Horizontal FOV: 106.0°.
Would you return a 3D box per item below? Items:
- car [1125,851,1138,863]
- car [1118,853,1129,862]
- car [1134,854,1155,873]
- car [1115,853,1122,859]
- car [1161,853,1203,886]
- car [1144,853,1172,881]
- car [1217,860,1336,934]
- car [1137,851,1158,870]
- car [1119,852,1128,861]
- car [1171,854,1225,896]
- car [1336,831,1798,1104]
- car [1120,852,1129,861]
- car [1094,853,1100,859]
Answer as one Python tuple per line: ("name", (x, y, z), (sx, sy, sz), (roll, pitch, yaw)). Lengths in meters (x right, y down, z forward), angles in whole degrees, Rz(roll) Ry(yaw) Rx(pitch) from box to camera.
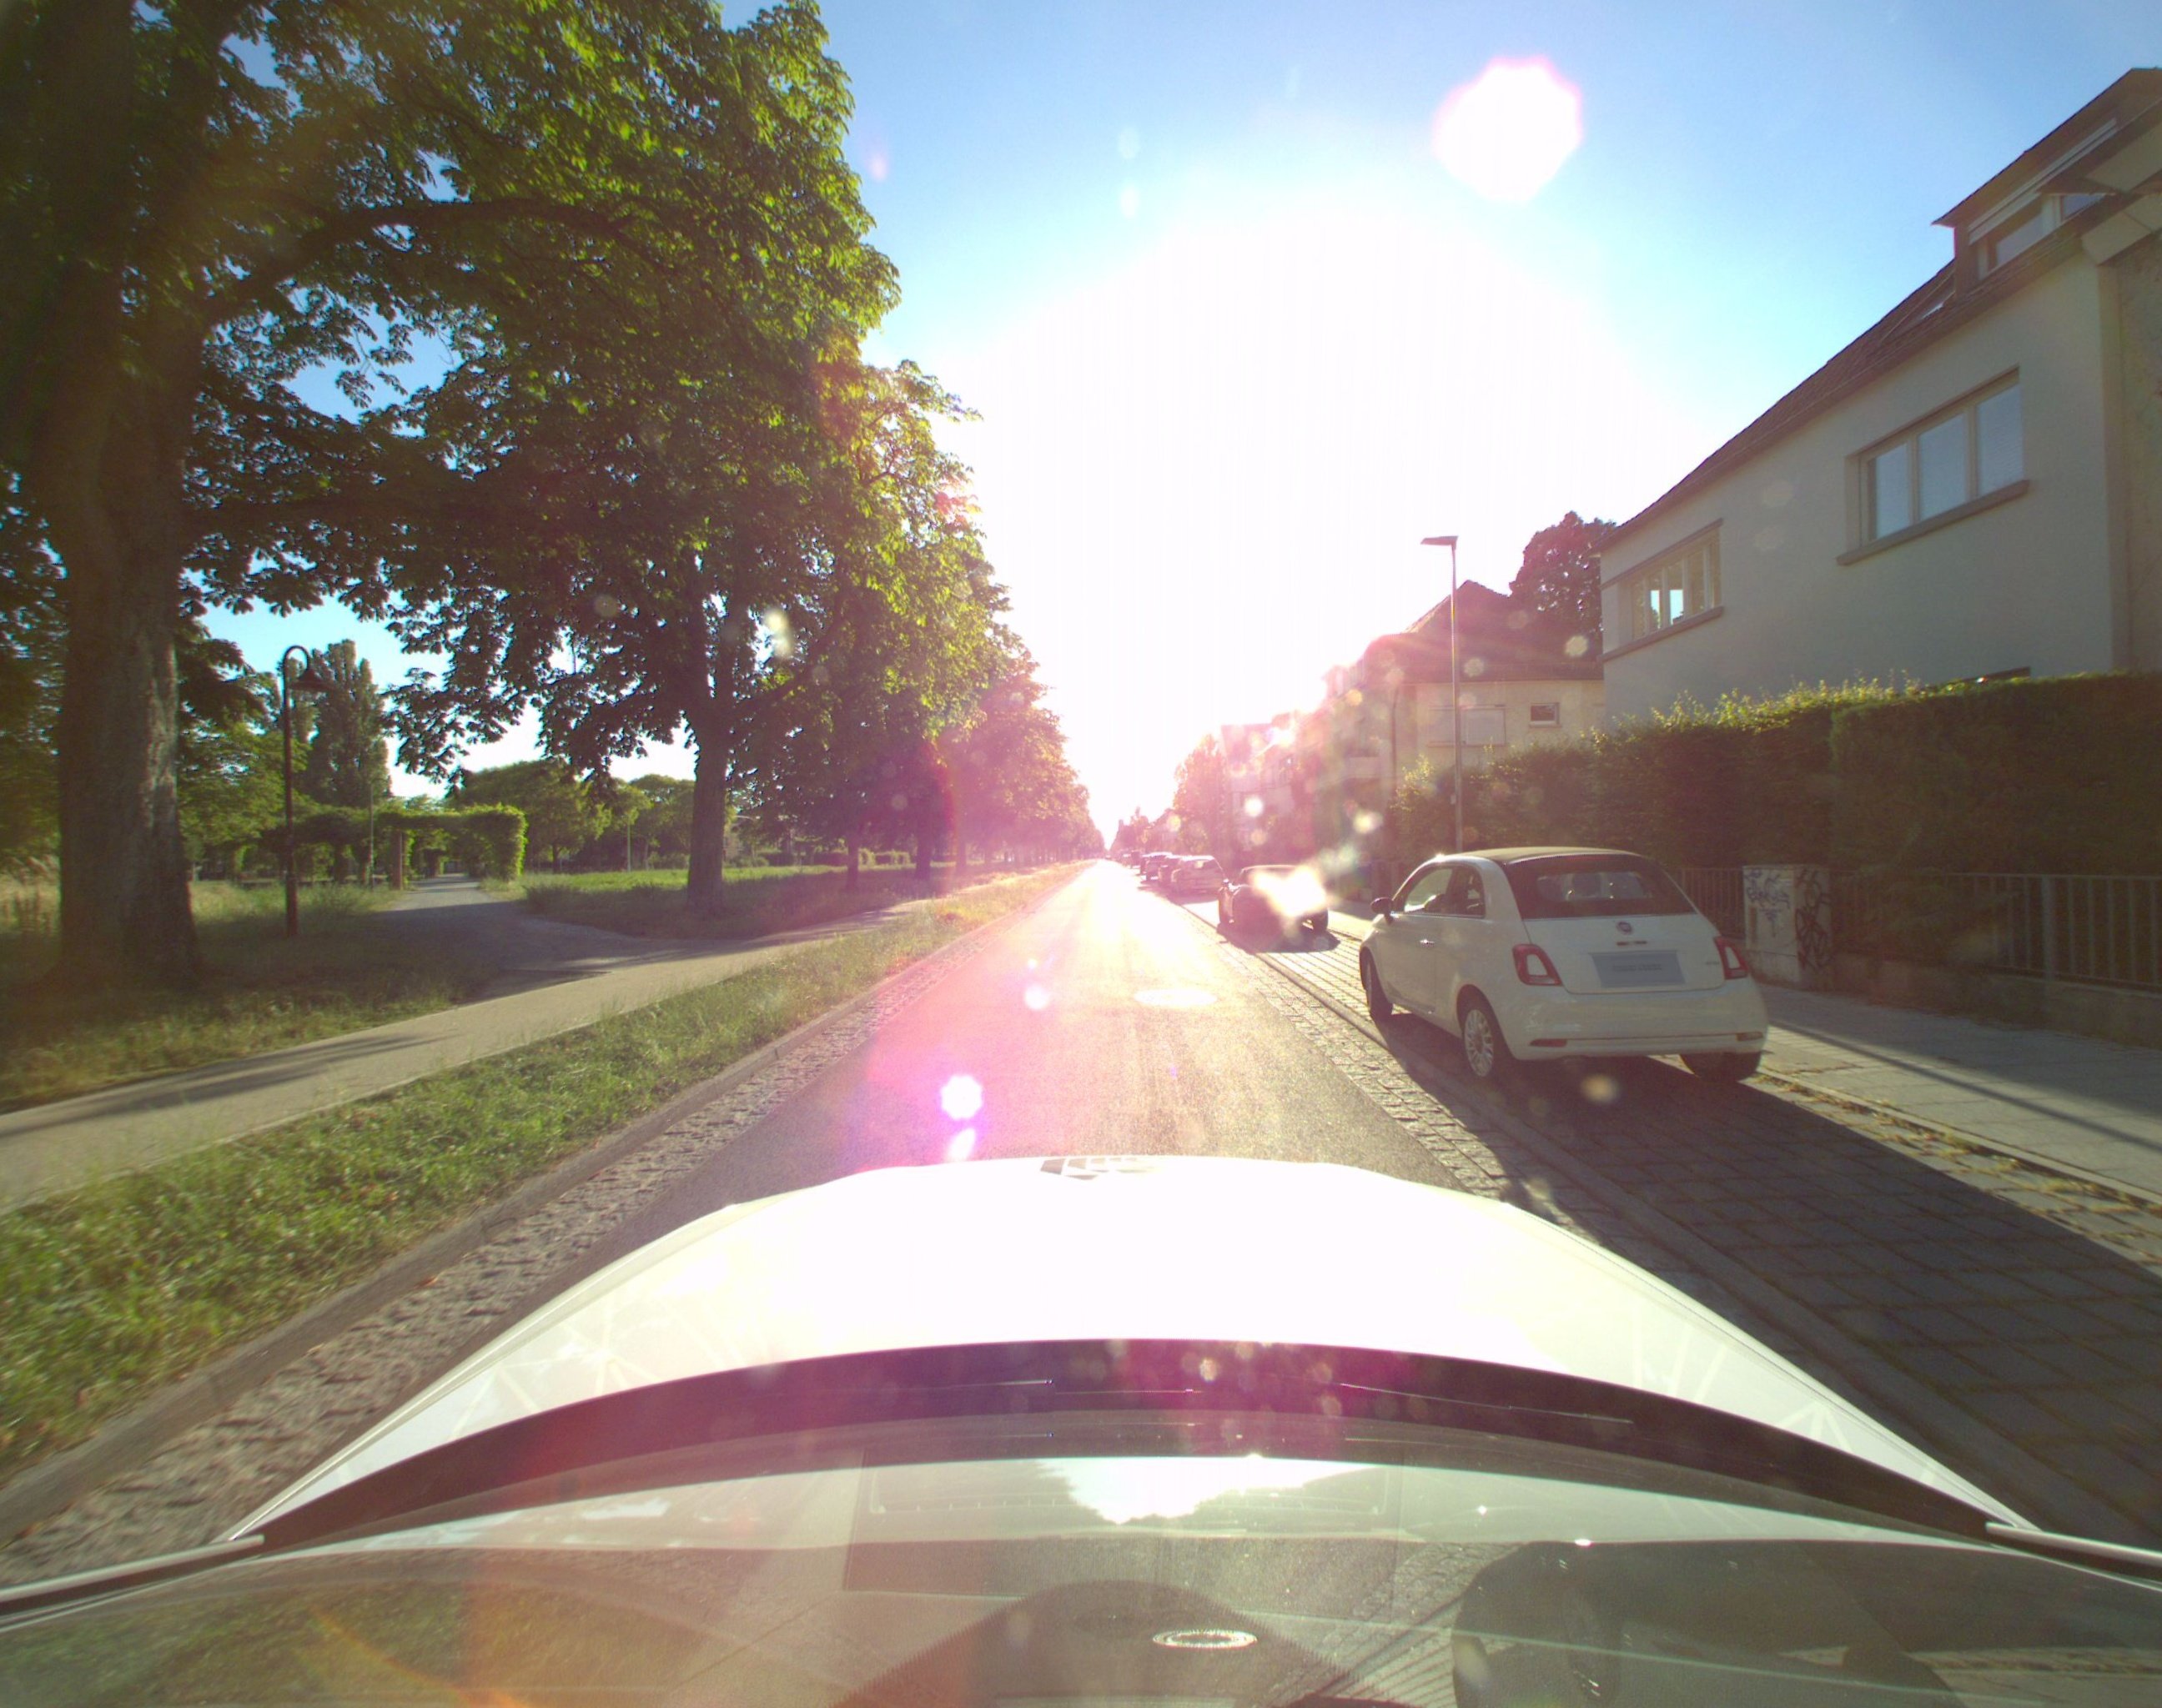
("car", (6.826, 0.438, 110.435), (1.645, 1.541, 3.269), (0, 0, 3))
("car", (6.769, 0.545, 128.817), (1.645, 1.541, 3.269), (0, 0, 3))
("car", (4.974, 0.717, 64.184), (1.587, 1.434, 3.269), (-2, 0, 3))
("car", (8.577, 0.449, 185.411), (1.646, 1.541, 3.268), (0, 0, 2))
("car", (4.540, 0.674, 36.990), (1.645, 1.396, 3.269), (-2, 0, 3))
("car", (4.555, 0.720, 48.512), (1.492, 1.567, 3.269), (-2, 0, 3))
("car", (3.792, 0.781, 16.357), (1.686, 1.248, 3.500), (-2, 0, 3))
("car", (5.751, 0.529, 70.429), (1.645, 1.541, 3.269), (-2, 0, 3))
("car", (8.078, 0.468, 154.749), (1.645, 1.541, 3.269), (0, 0, 3))
("car", (4.257, 0.727, 30.034), (1.645, 1.396, 3.269), (-2, 0, 3))
("car", (3.317, 0.647, 6.423), (1.586, 1.510, 3.594), (-2, 0, 3))
("car", (7.995, 0.471, 149.432), (1.645, 1.541, 3.269), (0, 0, 3))
("car", (4.332, 0.450, 220.612), (1.646, 1.541, 3.268), (0, 0, 2))
